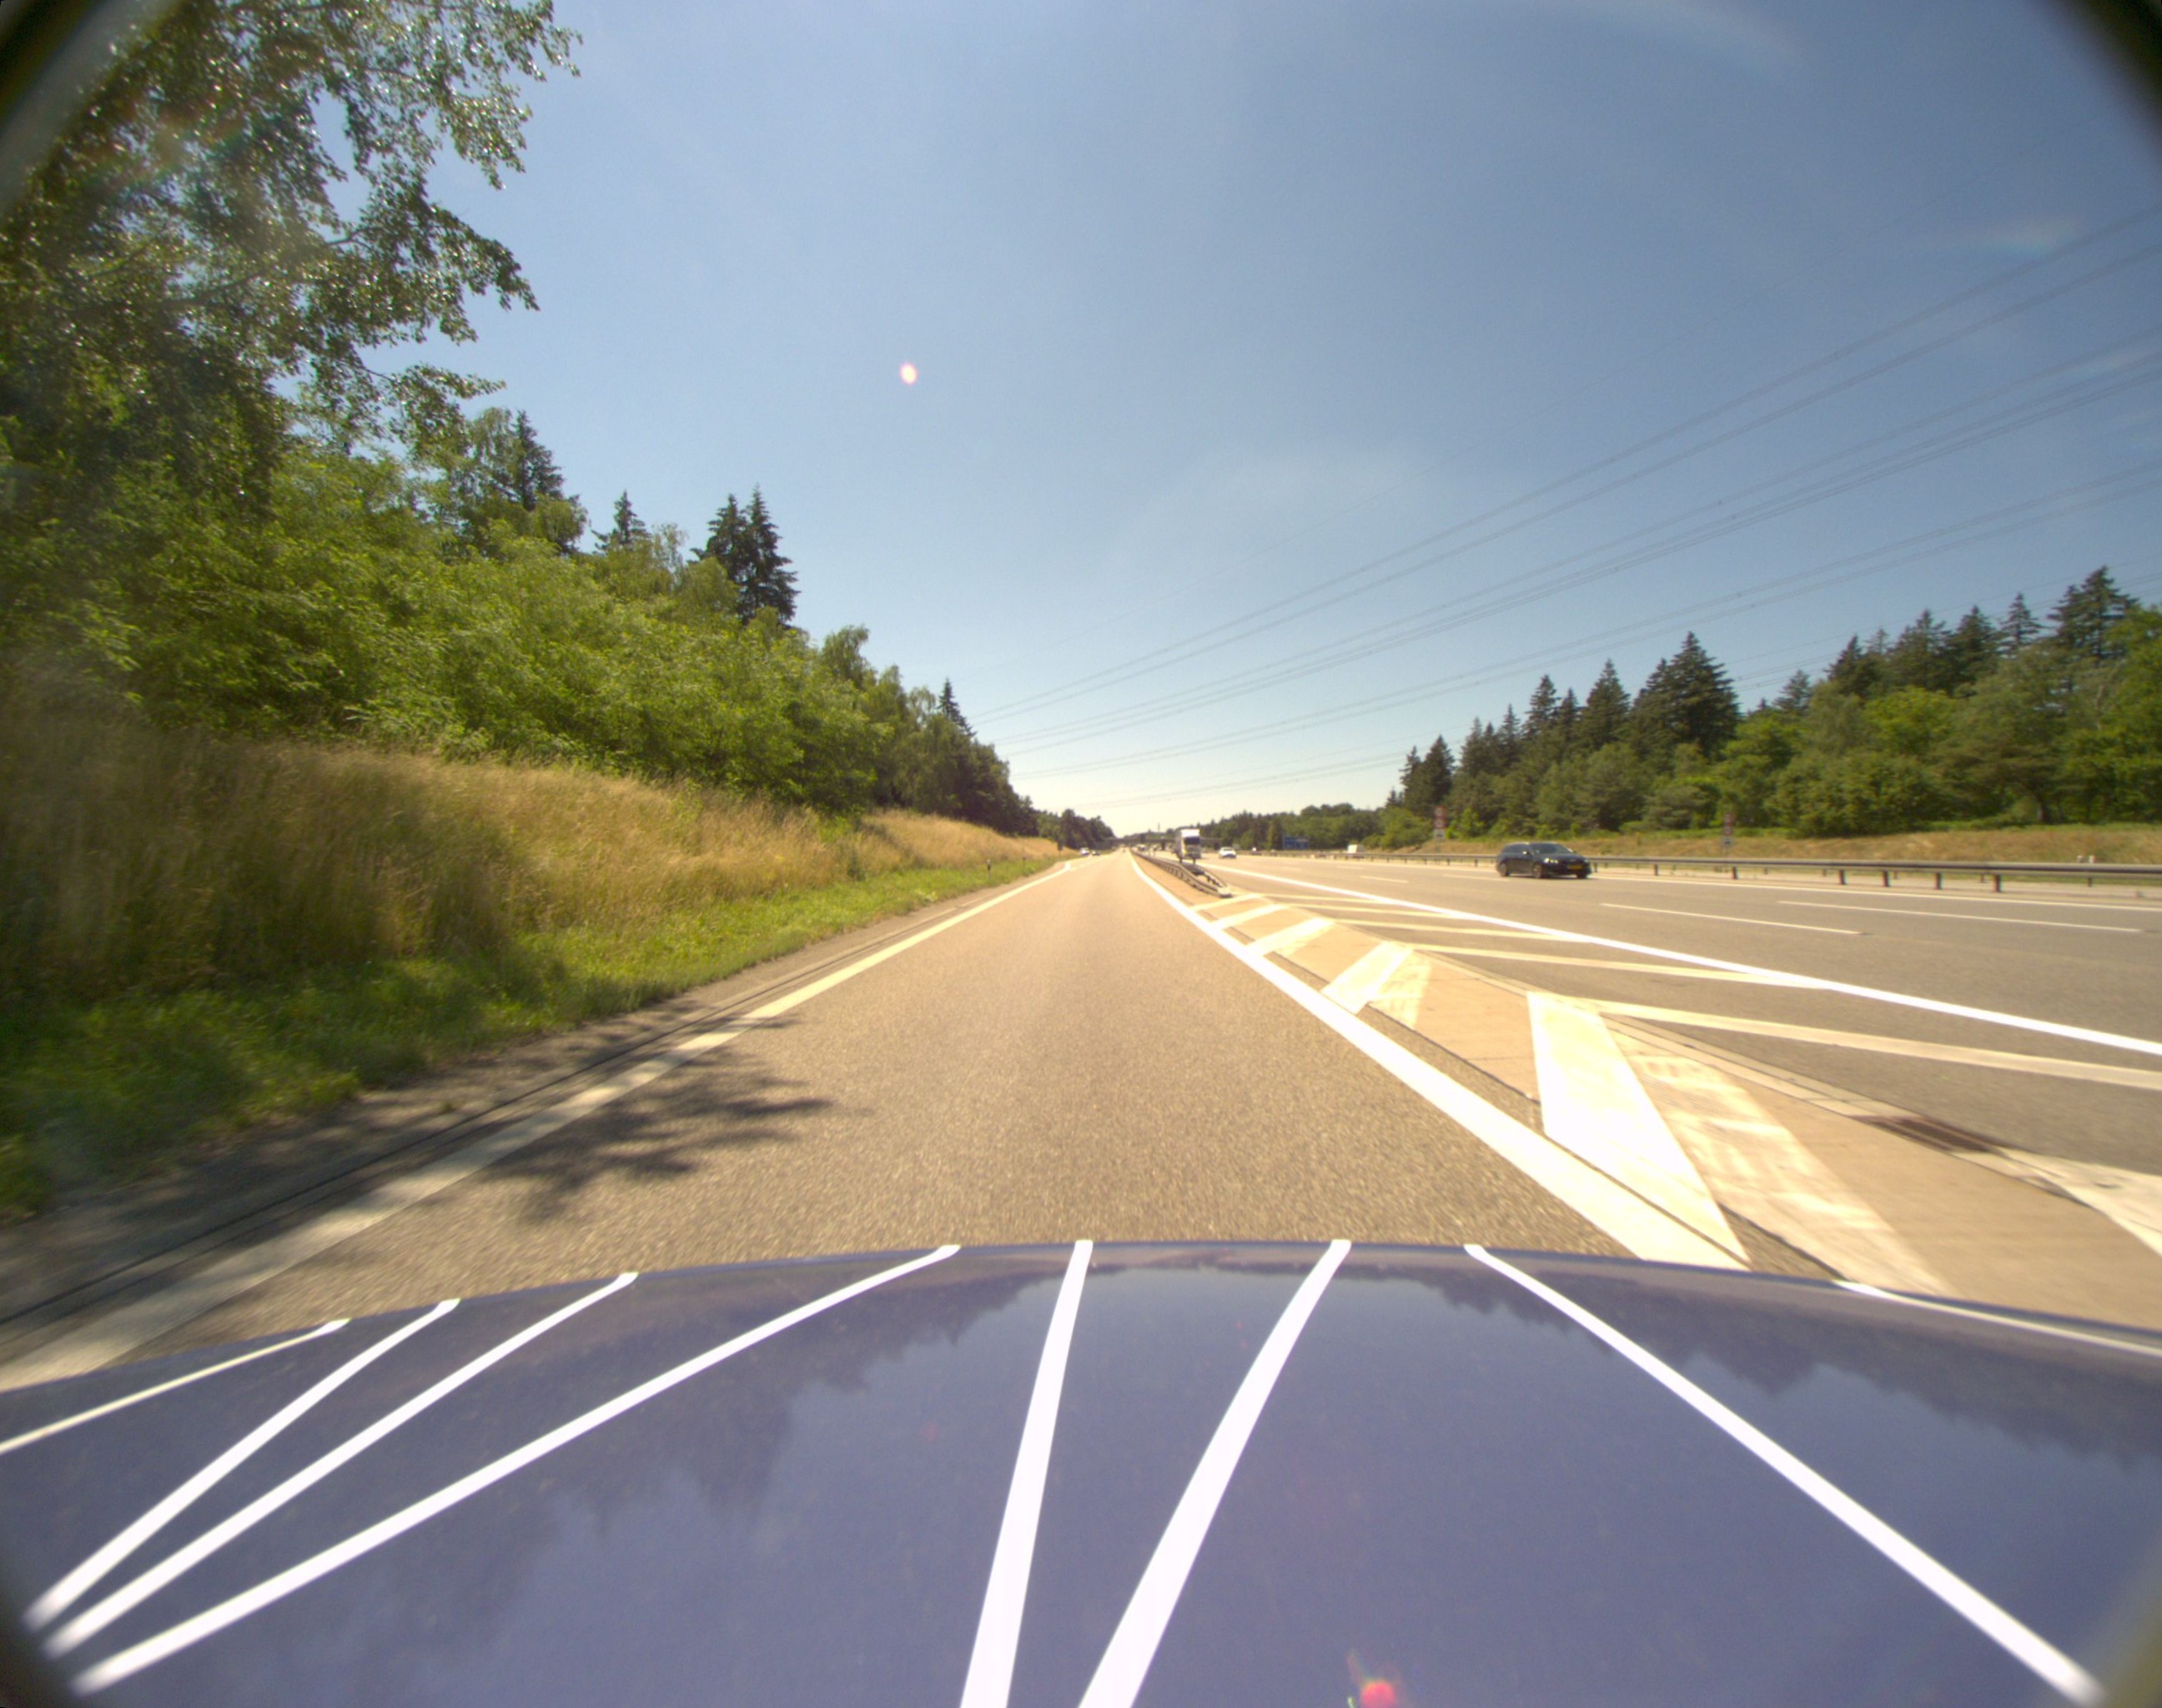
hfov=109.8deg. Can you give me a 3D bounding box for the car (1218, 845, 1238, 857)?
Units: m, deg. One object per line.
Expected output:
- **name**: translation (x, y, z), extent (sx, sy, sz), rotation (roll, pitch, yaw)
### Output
- **car**: translation (19.516, -0.435, 100.934), extent (1.968, 1.495, 5.405), rotation (-1, 1, 4)

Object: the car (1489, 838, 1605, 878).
- **car**: translation (18.466, 0.142, 30.427), extent (1.836, 1.423, 5.000), rotation (-1, 0, 4)

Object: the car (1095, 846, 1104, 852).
- **car**: translation (4.840, -1.371, 196.691), extent (1.898, 1.417, 4.262), rotation (-2, 1, 6)

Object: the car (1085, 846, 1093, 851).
- **car**: translation (2.215, -1.587, 220.620), extent (1.898, 1.417, 4.262), rotation (-2, 1, 6)

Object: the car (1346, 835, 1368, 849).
- **car**: translation (54.835, -2.357, 151.029), extent (2.310, 2.500, 6.458), rotation (-1, 0, 3)

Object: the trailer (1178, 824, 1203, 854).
- **trailer**: translation (15.645, -2.085, 109.221), extent (2.981, 4.118, 11.700), rotation (-1, 0, 6)

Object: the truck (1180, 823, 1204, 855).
- **truck**: translation (15.141, -2.023, 104.056), extent (2.979, 4.118, 5.350), rotation (-1, 1, 6)

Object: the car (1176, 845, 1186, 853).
- **car**: translation (27.300, -1.492, 206.844), extent (2.315, 2.021, 5.405), rotation (-1, 1, 4)
